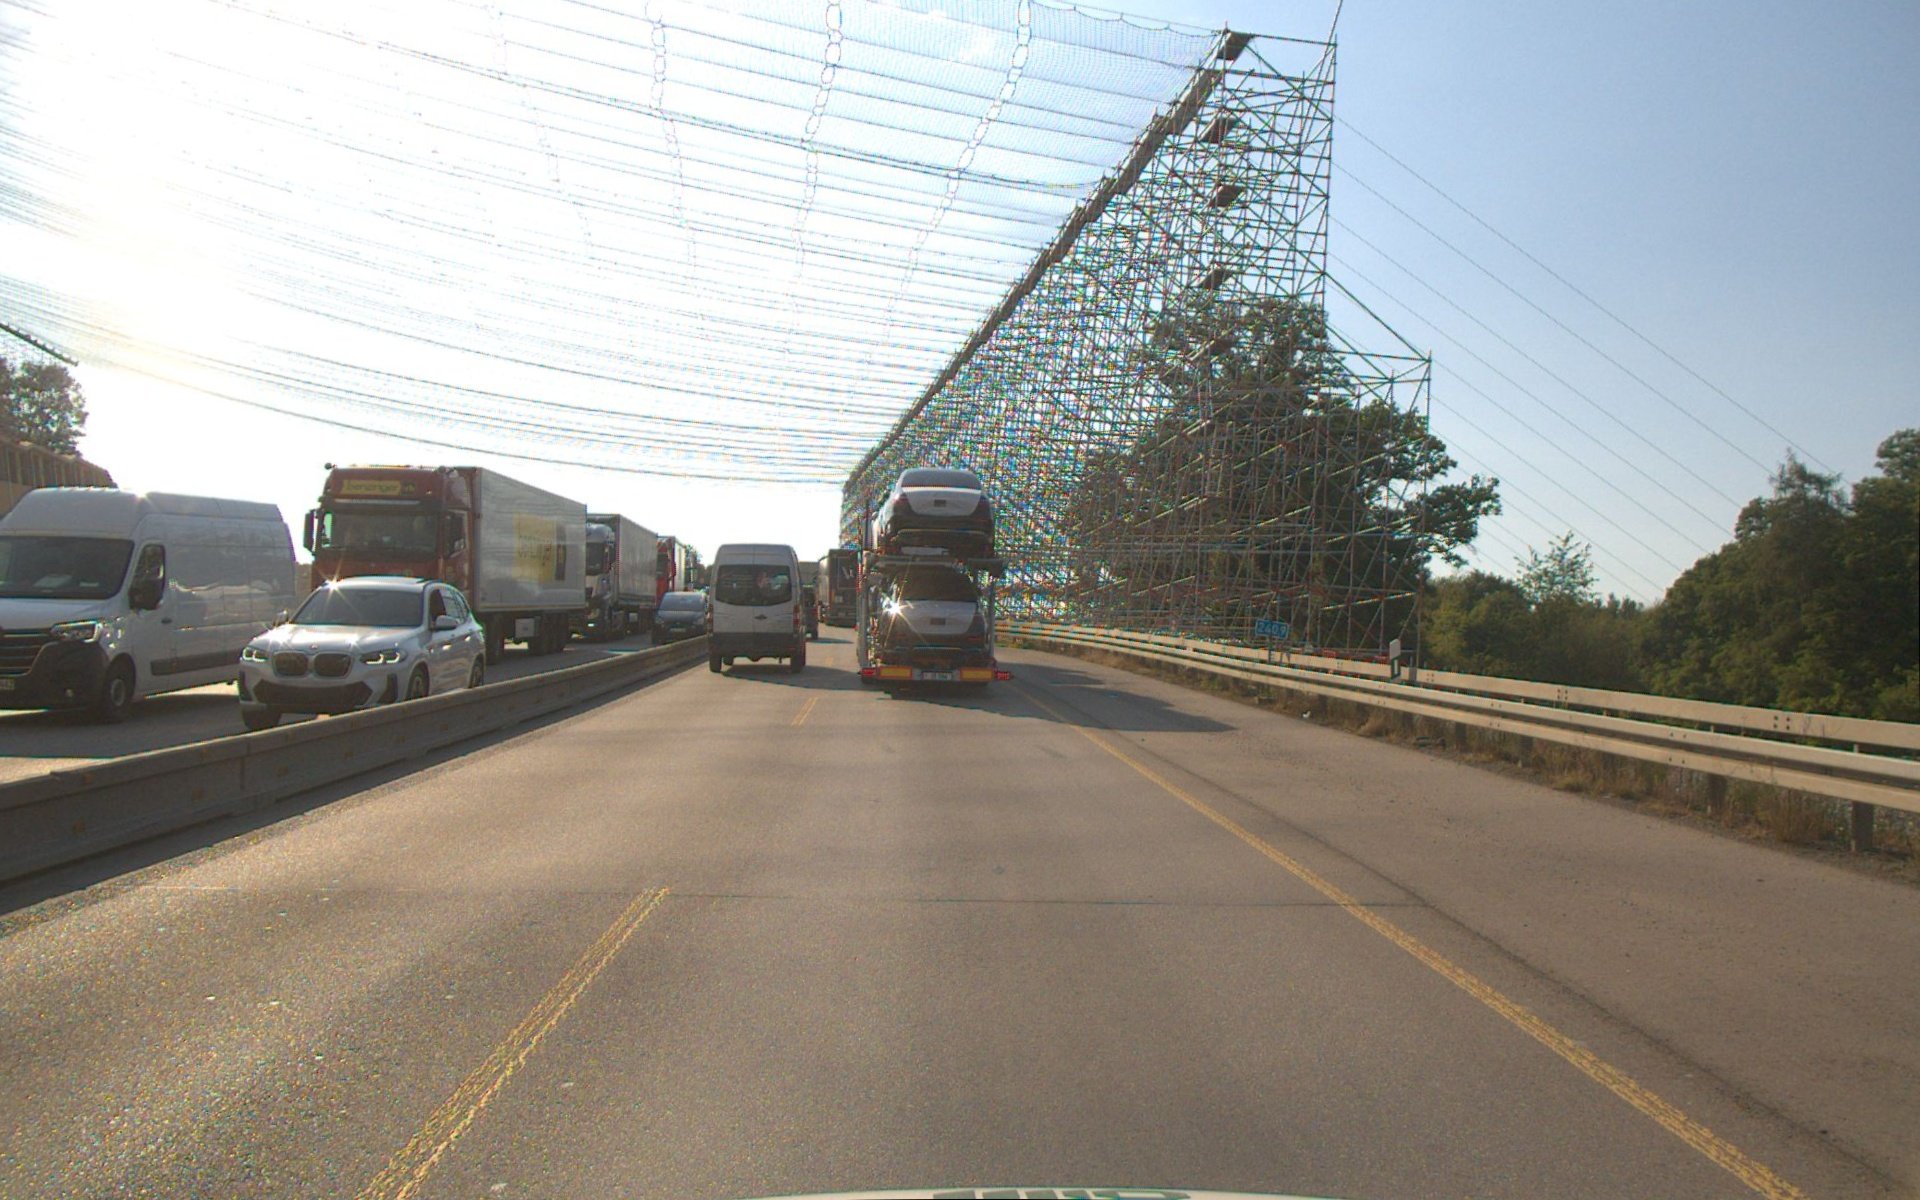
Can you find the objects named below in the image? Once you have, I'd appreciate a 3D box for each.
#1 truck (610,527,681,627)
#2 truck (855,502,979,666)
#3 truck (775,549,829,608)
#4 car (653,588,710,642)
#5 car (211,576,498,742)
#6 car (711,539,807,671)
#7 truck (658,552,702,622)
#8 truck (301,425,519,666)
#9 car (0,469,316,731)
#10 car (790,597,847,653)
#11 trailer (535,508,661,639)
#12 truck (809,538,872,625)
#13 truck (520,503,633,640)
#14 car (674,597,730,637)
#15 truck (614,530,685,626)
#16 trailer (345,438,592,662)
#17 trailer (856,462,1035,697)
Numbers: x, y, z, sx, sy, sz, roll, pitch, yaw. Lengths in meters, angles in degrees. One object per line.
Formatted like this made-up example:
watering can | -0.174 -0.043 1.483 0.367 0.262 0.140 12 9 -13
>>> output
truck | -13.909 -0.961 73.461 2.735 4.214 6.666 1 0 -8
truck | -1.199 -0.356 42.116 2.824 3.767 7.320 1 0 -3
truck | -12.505 -1.698 132.242 3.614 4.294 13.660 -2 1 -3
car | -9.121 0.455 54.479 1.719 1.686 4.853 1 0 -8
car | -6.942 0.581 19.545 1.832 1.616 4.800 3 1 -4
car | -4.246 0.114 35.520 1.918 2.667 3.995 0 -1 -5
truck | -18.104 -0.824 106.675 2.614 4.304 6.089 1 0 -11
truck | -10.850 -0.979 33.246 2.691 4.375 5.928 1 0 -4
car | -10.414 -0.070 20.927 1.981 2.737 6.946 2 1 -2
car | -5.443 0.932 63.404 1.956 2.049 3.993 1 -1 -8
trailer | -13.071 -0.848 60.945 2.744 4.214 13.951 1 0 -5
truck | -6.775 -1.018 92.539 2.681 4.462 11.501 2 0 -8
truck | -12.474 -0.876 54.235 2.733 4.214 5.927 1 0 -5
car | -9.957 0.623 64.072 1.697 1.401 4.886 3 0 -5
truck | -14.831 -0.958 79.864 2.735 4.214 13.781 1 0 -8
trailer | -11.338 -0.967 39.912 2.711 4.409 13.868 1 0 -4
trailer | -0.703 -0.305 34.480 2.812 3.790 14.934 1 0 -4
